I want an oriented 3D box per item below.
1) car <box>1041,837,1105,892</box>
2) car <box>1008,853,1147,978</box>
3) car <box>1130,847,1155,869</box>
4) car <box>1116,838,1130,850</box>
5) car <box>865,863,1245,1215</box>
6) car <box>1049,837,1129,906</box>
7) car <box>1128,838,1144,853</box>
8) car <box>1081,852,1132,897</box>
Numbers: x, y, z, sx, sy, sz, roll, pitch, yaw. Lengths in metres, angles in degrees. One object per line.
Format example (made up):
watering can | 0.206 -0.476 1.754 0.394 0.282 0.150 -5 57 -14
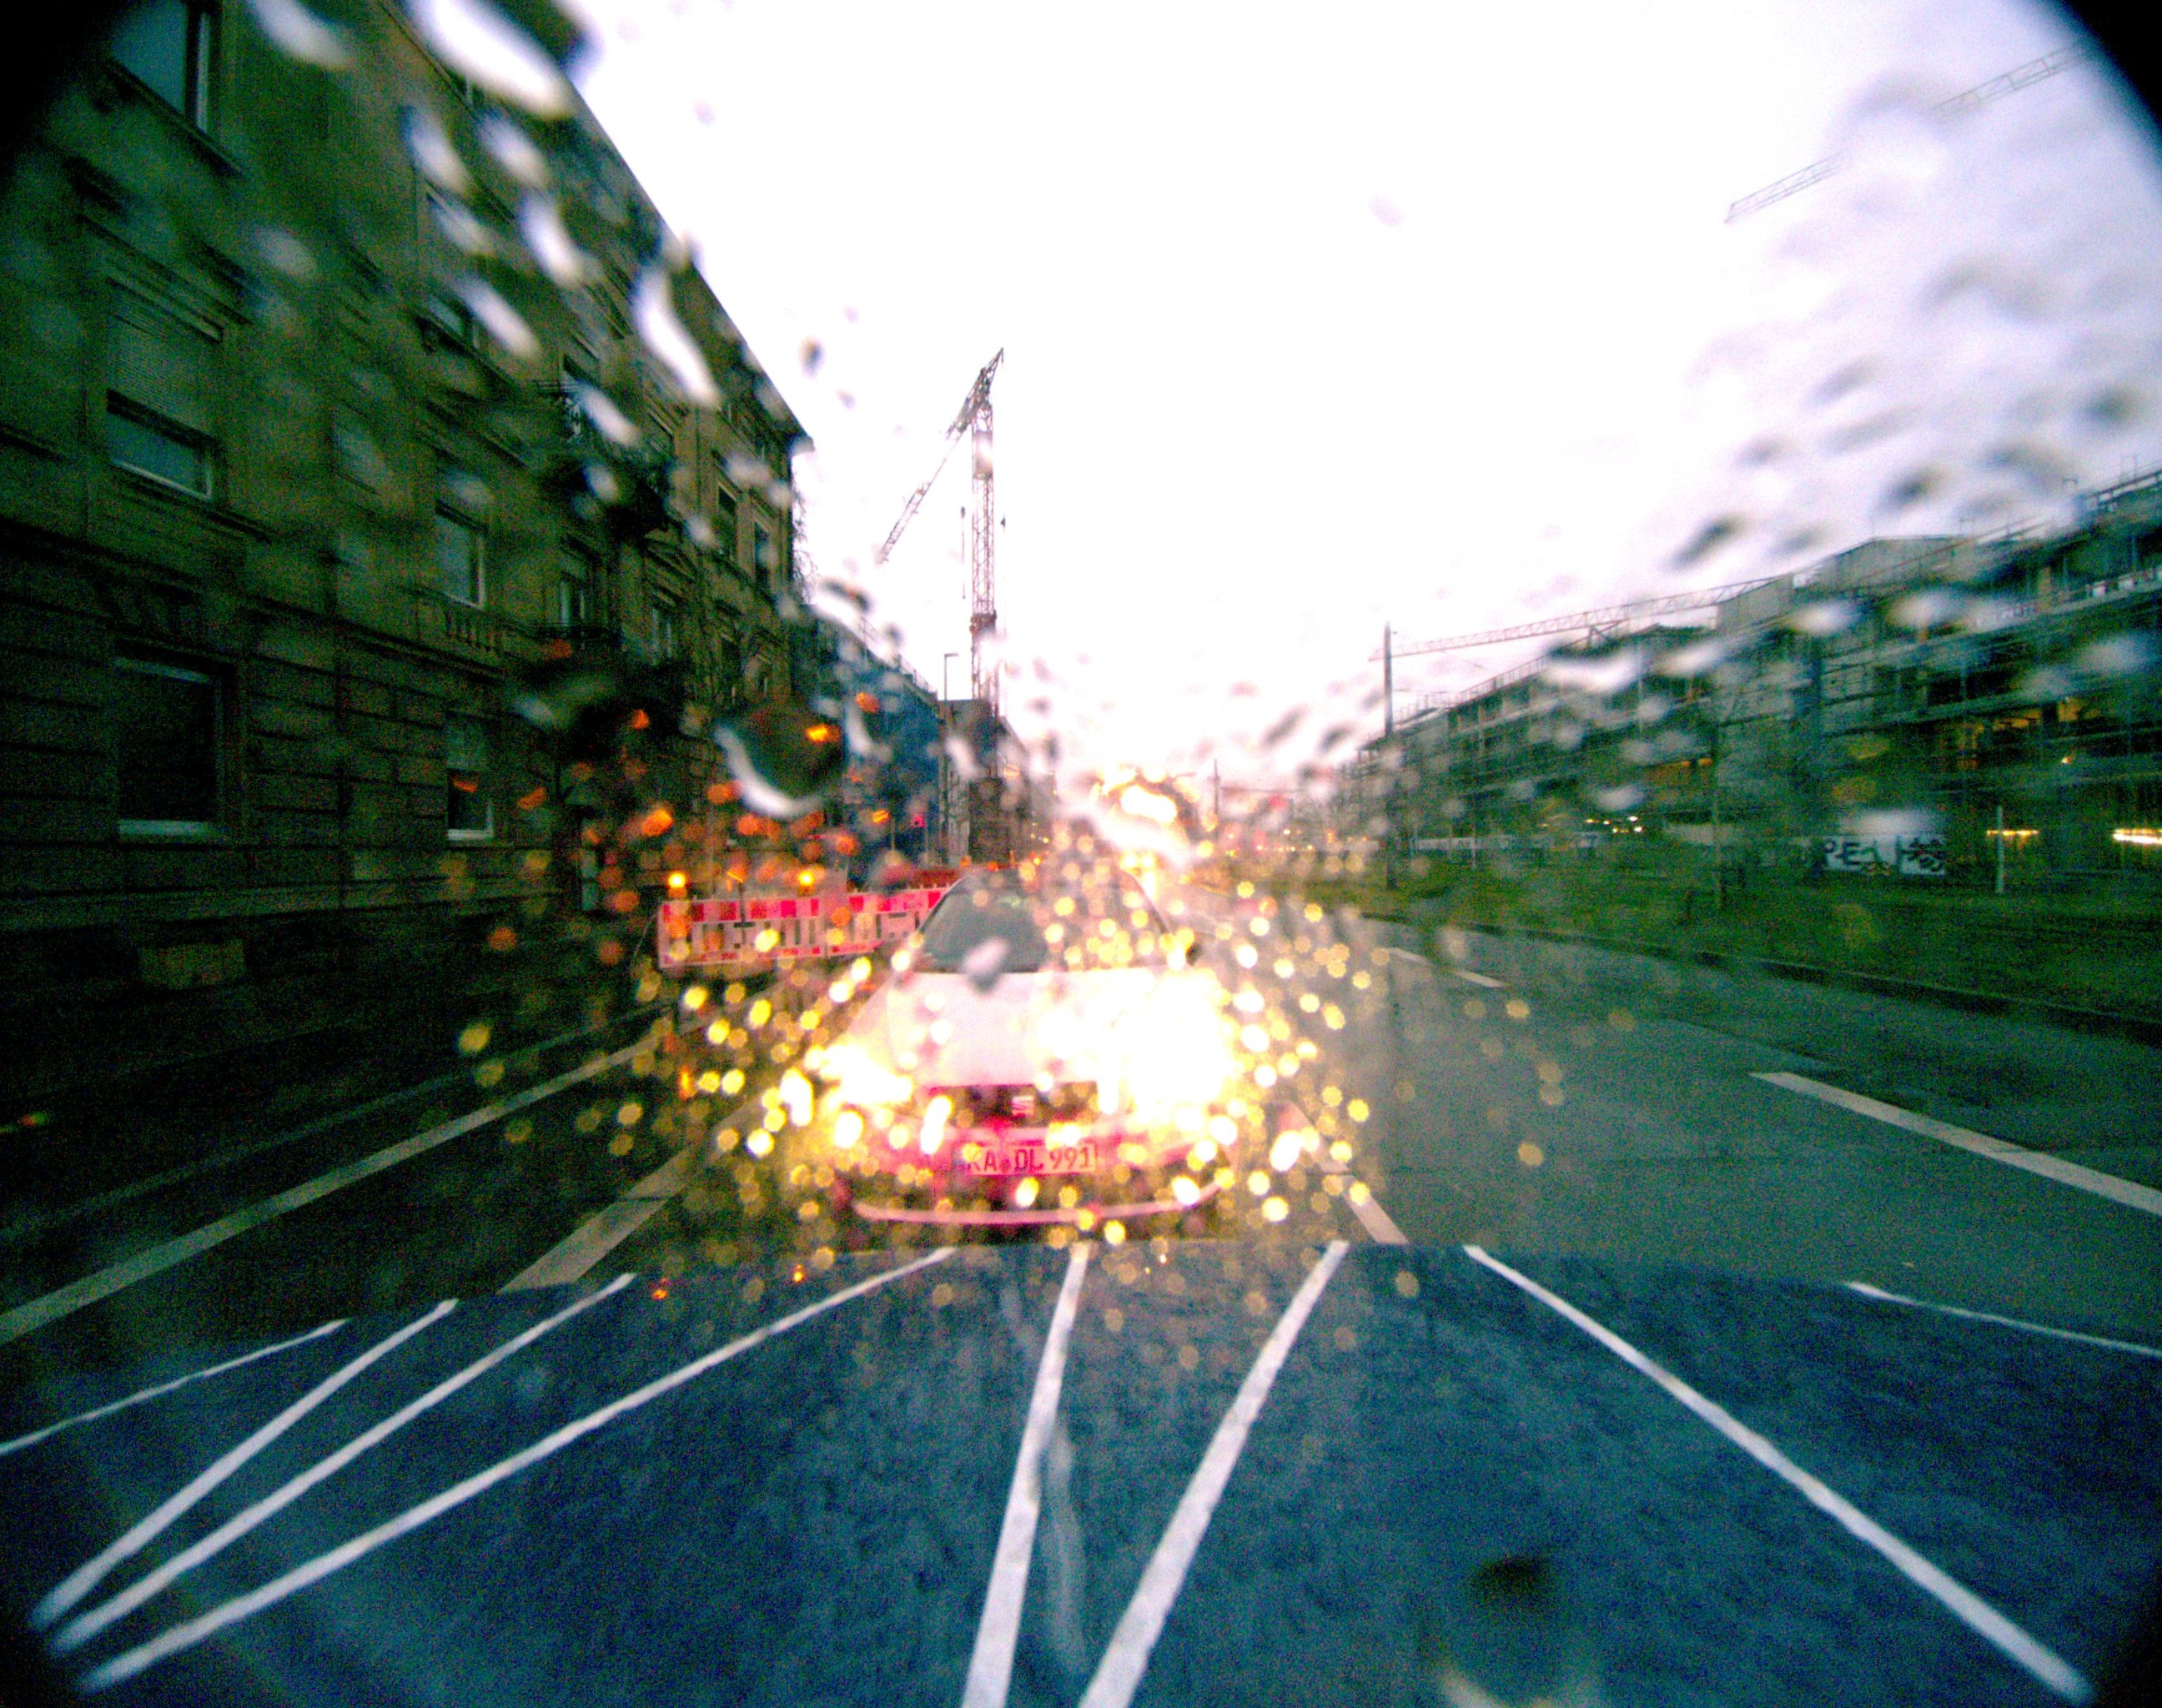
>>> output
car | -0.247 0.268 23.827 1.769 1.504 3.899 -3 1 0
car | -0.051 0.816 12.018 1.769 1.504 3.899 -3 1 0
car | 4.722 0.307 58.763 1.768 1.504 3.900 -3 1 3
car | 5.914 -1.391 107.040 1.768 1.614 3.900 -3 1 4
car | -0.126 0.925 5.626 1.769 1.504 3.899 -3 1 0
car | 0.177 0.369 19.317 1.769 1.504 3.899 -3 1 0
car | 6.311 -1.003 87.348 1.768 1.614 3.900 -3 1 4
car | 0.916 0.738 29.575 1.769 1.504 3.899 -3 1 0
